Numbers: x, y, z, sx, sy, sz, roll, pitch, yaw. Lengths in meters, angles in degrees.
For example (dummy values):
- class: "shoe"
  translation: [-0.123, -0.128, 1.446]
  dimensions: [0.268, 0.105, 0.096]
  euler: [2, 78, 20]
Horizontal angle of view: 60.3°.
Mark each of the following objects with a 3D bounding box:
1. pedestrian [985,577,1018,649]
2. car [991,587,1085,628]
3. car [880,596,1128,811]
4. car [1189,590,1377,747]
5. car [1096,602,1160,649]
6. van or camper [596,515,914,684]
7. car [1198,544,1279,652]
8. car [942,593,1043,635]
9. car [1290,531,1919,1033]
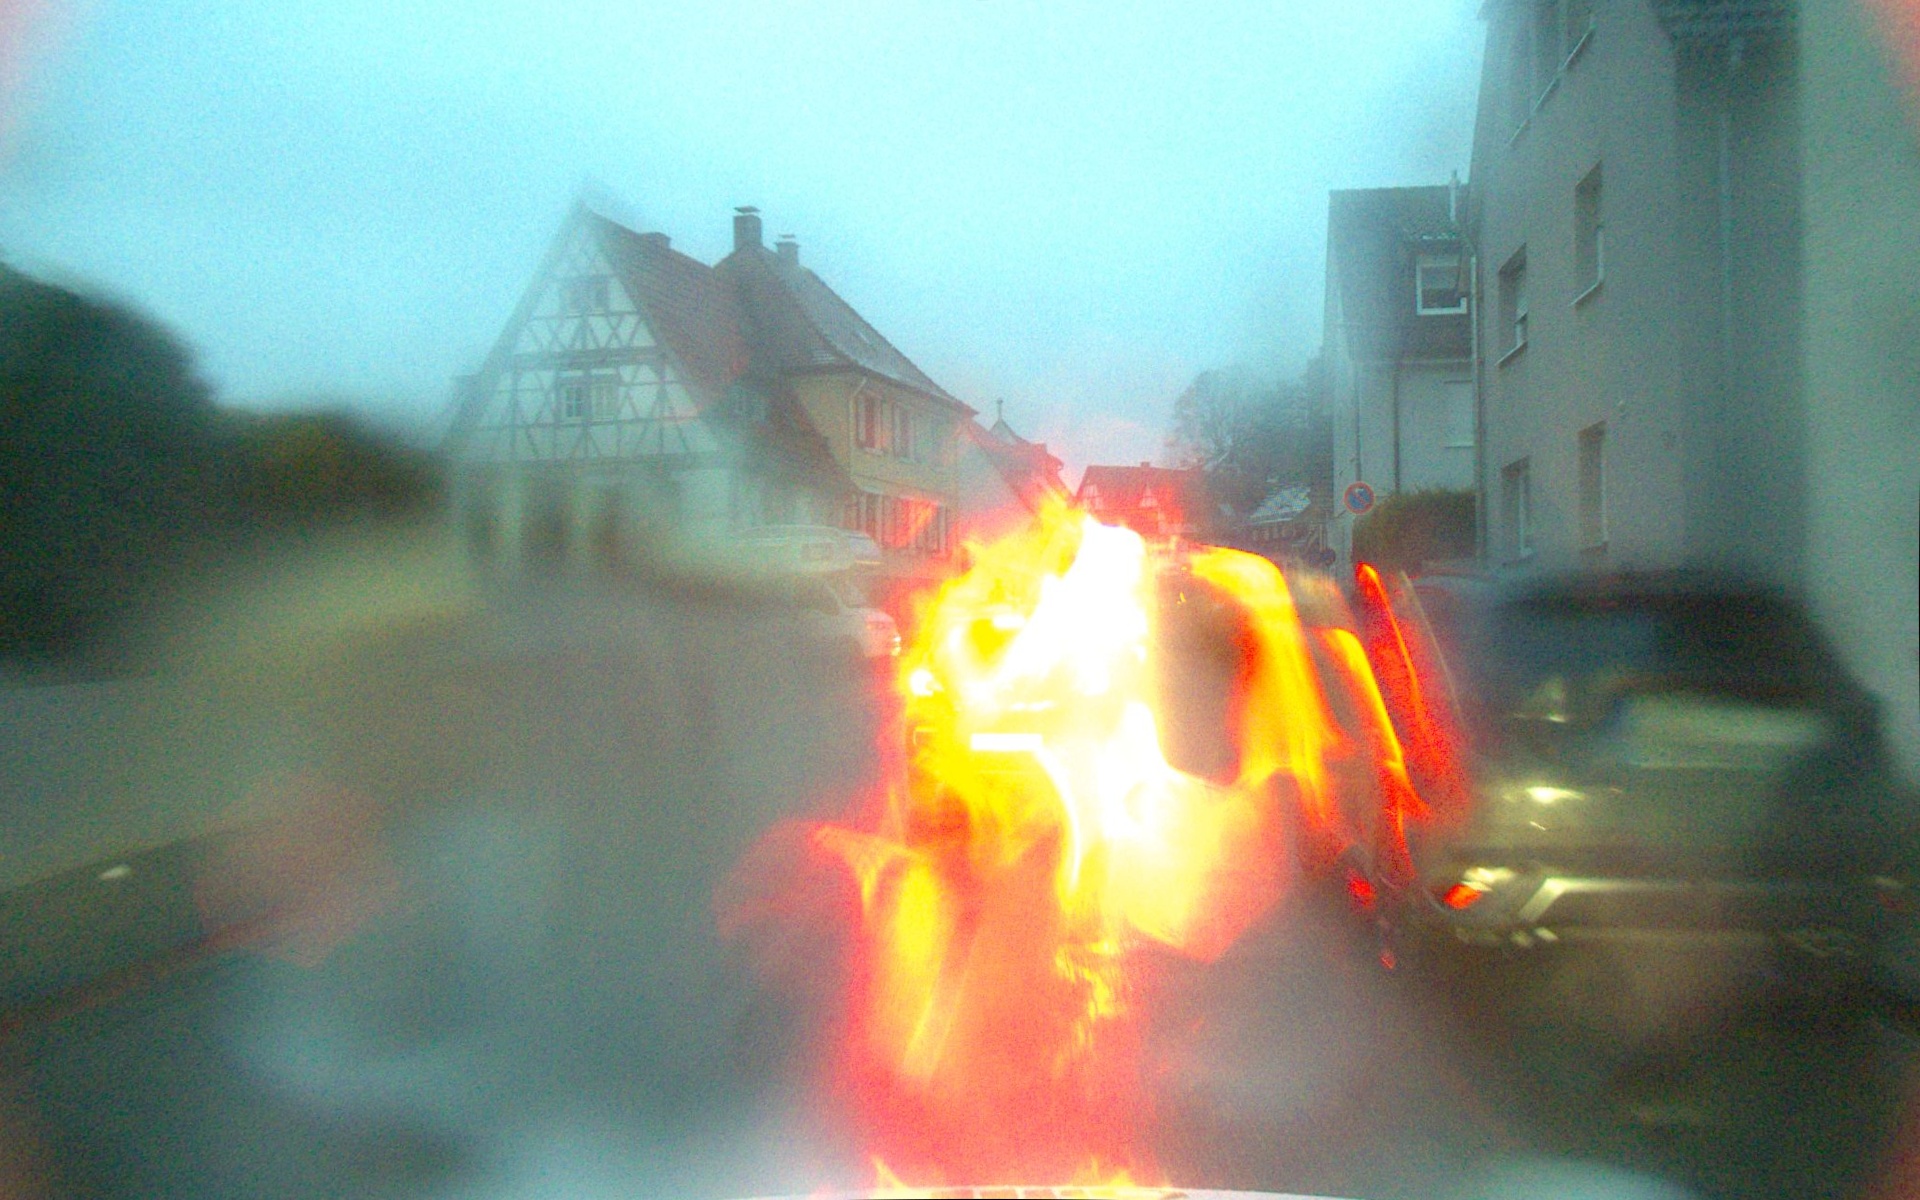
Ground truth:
- class: "pedestrian"
  translation: [1.206, 0.358, 47.685]
  dimensions: [0.855, 2.049, 0.795]
  euler: [-1, 0, 6]
- class: "car"
  translation: [3.010, 0.280, 63.120]
  dimensions: [3.433, 1.533, 1.693]
  euler: [0, 0, 8]
- class: "car"
  translation: [0.473, 0.726, 13.741]
  dimensions: [1.757, 1.502, 4.002]
  euler: [0, 0, 5]
- class: "car"
  translation: [3.530, 0.685, 18.683]
  dimensions: [1.760, 1.561, 4.003]
  euler: [-1, 0, 7]
- class: "car"
  translation: [5.528, 0.806, 53.999]
  dimensions: [1.828, 1.426, 4.370]
  euler: [-1, 0, 9]
- class: "van or camper"
  translation: [-4.213, 0.013, 34.402]
  dimensions: [5.931, 3.006, 2.408]
  euler: [-4, -1, 12]
- class: "car"
  translation: [6.676, -0.055, 39.941]
  dimensions: [1.775, 2.455, 3.754]
  euler: [-1, 0, 8]
- class: "car"
  translation: [1.215, 0.510, 60.791]
  dimensions: [3.432, 1.533, 1.694]
  euler: [0, 0, 14]
- class: "car"
  translation: [2.745, 0.605, 7.703]
  dimensions: [1.809, 1.665, 4.338]
  euler: [0, 0, 4]
